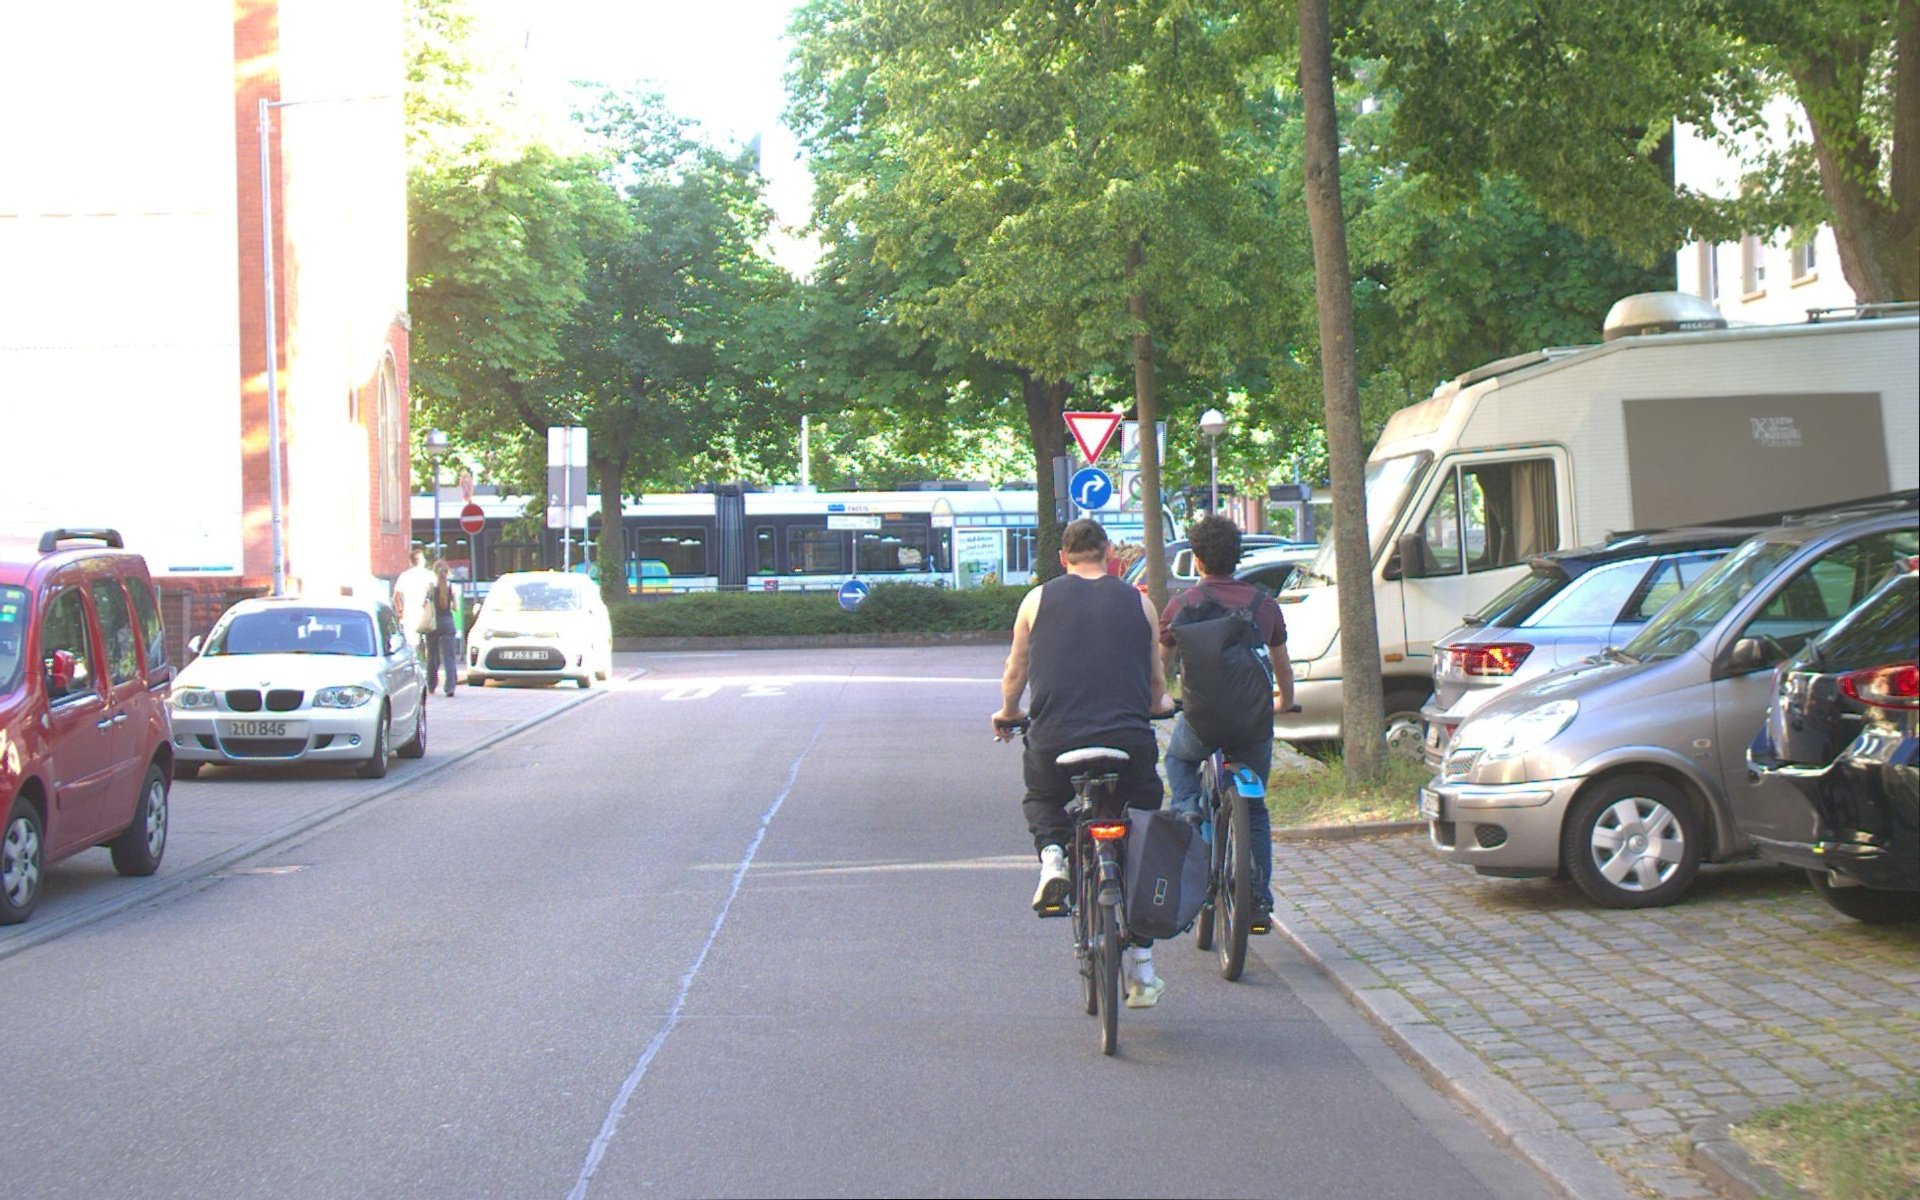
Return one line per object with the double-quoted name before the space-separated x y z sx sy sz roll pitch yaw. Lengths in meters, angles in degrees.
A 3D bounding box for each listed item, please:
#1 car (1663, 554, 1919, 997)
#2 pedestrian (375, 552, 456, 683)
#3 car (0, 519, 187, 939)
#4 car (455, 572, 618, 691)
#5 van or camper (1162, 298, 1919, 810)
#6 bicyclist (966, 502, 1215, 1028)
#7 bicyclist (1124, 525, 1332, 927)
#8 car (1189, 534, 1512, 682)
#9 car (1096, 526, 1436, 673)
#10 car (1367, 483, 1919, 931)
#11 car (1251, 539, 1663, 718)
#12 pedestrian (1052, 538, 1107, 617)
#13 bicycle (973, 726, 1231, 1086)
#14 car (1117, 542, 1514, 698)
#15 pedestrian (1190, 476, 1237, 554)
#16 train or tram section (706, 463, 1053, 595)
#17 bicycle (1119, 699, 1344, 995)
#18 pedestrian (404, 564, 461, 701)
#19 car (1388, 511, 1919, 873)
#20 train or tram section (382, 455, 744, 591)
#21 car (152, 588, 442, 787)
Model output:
"car" 4.792 0.497 12.681 3.874 1.468 1.788 -3 0 -5
"pedestrian" -6.949 0.212 43.912 0.867 1.637 0.860 -1 1 -1
"car" -5.247 0.560 17.237 1.798 1.900 4.325 0 1 0
"car" -5.592 0.381 45.752 1.705 1.480 3.797 1 1 0
"van or camper" 5.026 -0.338 22.646 7.075 3.067 2.465 -1 1 -3
"bicyclist" 0.421 0.528 11.540 0.752 1.676 0.913 -1 0 -1
"bicyclist" 1.043 0.481 13.584 0.671 1.509 1.069 -1 0 -1
"car" 4.603 0.086 40.902 3.693 1.645 1.704 -1 1 3
"car" 3.993 -0.034 45.304 4.105 1.707 2.024 -3 1 -5
"car" 3.922 0.385 15.238 3.914 1.738 1.729 -4 0 -1
"car" 4.703 0.246 32.870 3.589 1.500 1.678 -3 1 -2
"pedestrian" 2.925 -0.553 84.083 1.016 1.891 0.912 -1 1 -22
"bicycle" 0.438 0.972 11.520 0.737 1.008 2.061 1 0 -1
"car" 3.883 0.207 38.039 4.104 1.407 1.792 -4 1 0
"pedestrian" 5.534 -1.854 75.040 0.916 1.678 0.780 -1 1 10
"train or tram section" -2.054 -1.795 88.463 8.415 3.190 2.862 1 1 -23
"bicycle" 1.052 0.942 13.743 0.674 1.050 2.061 -1 -1 -1
"pedestrian" -6.286 0.374 40.968 0.599 1.599 0.855 -2 0 -7
"car" 4.320 0.395 17.632 3.963 1.593 1.903 -4 0 2
"train or tram section" -9.816 -1.872 85.191 8.415 3.167 2.862 1 1 -23
"car" -5.335 0.654 28.128 1.744 1.461 4.104 -1 1 -3
